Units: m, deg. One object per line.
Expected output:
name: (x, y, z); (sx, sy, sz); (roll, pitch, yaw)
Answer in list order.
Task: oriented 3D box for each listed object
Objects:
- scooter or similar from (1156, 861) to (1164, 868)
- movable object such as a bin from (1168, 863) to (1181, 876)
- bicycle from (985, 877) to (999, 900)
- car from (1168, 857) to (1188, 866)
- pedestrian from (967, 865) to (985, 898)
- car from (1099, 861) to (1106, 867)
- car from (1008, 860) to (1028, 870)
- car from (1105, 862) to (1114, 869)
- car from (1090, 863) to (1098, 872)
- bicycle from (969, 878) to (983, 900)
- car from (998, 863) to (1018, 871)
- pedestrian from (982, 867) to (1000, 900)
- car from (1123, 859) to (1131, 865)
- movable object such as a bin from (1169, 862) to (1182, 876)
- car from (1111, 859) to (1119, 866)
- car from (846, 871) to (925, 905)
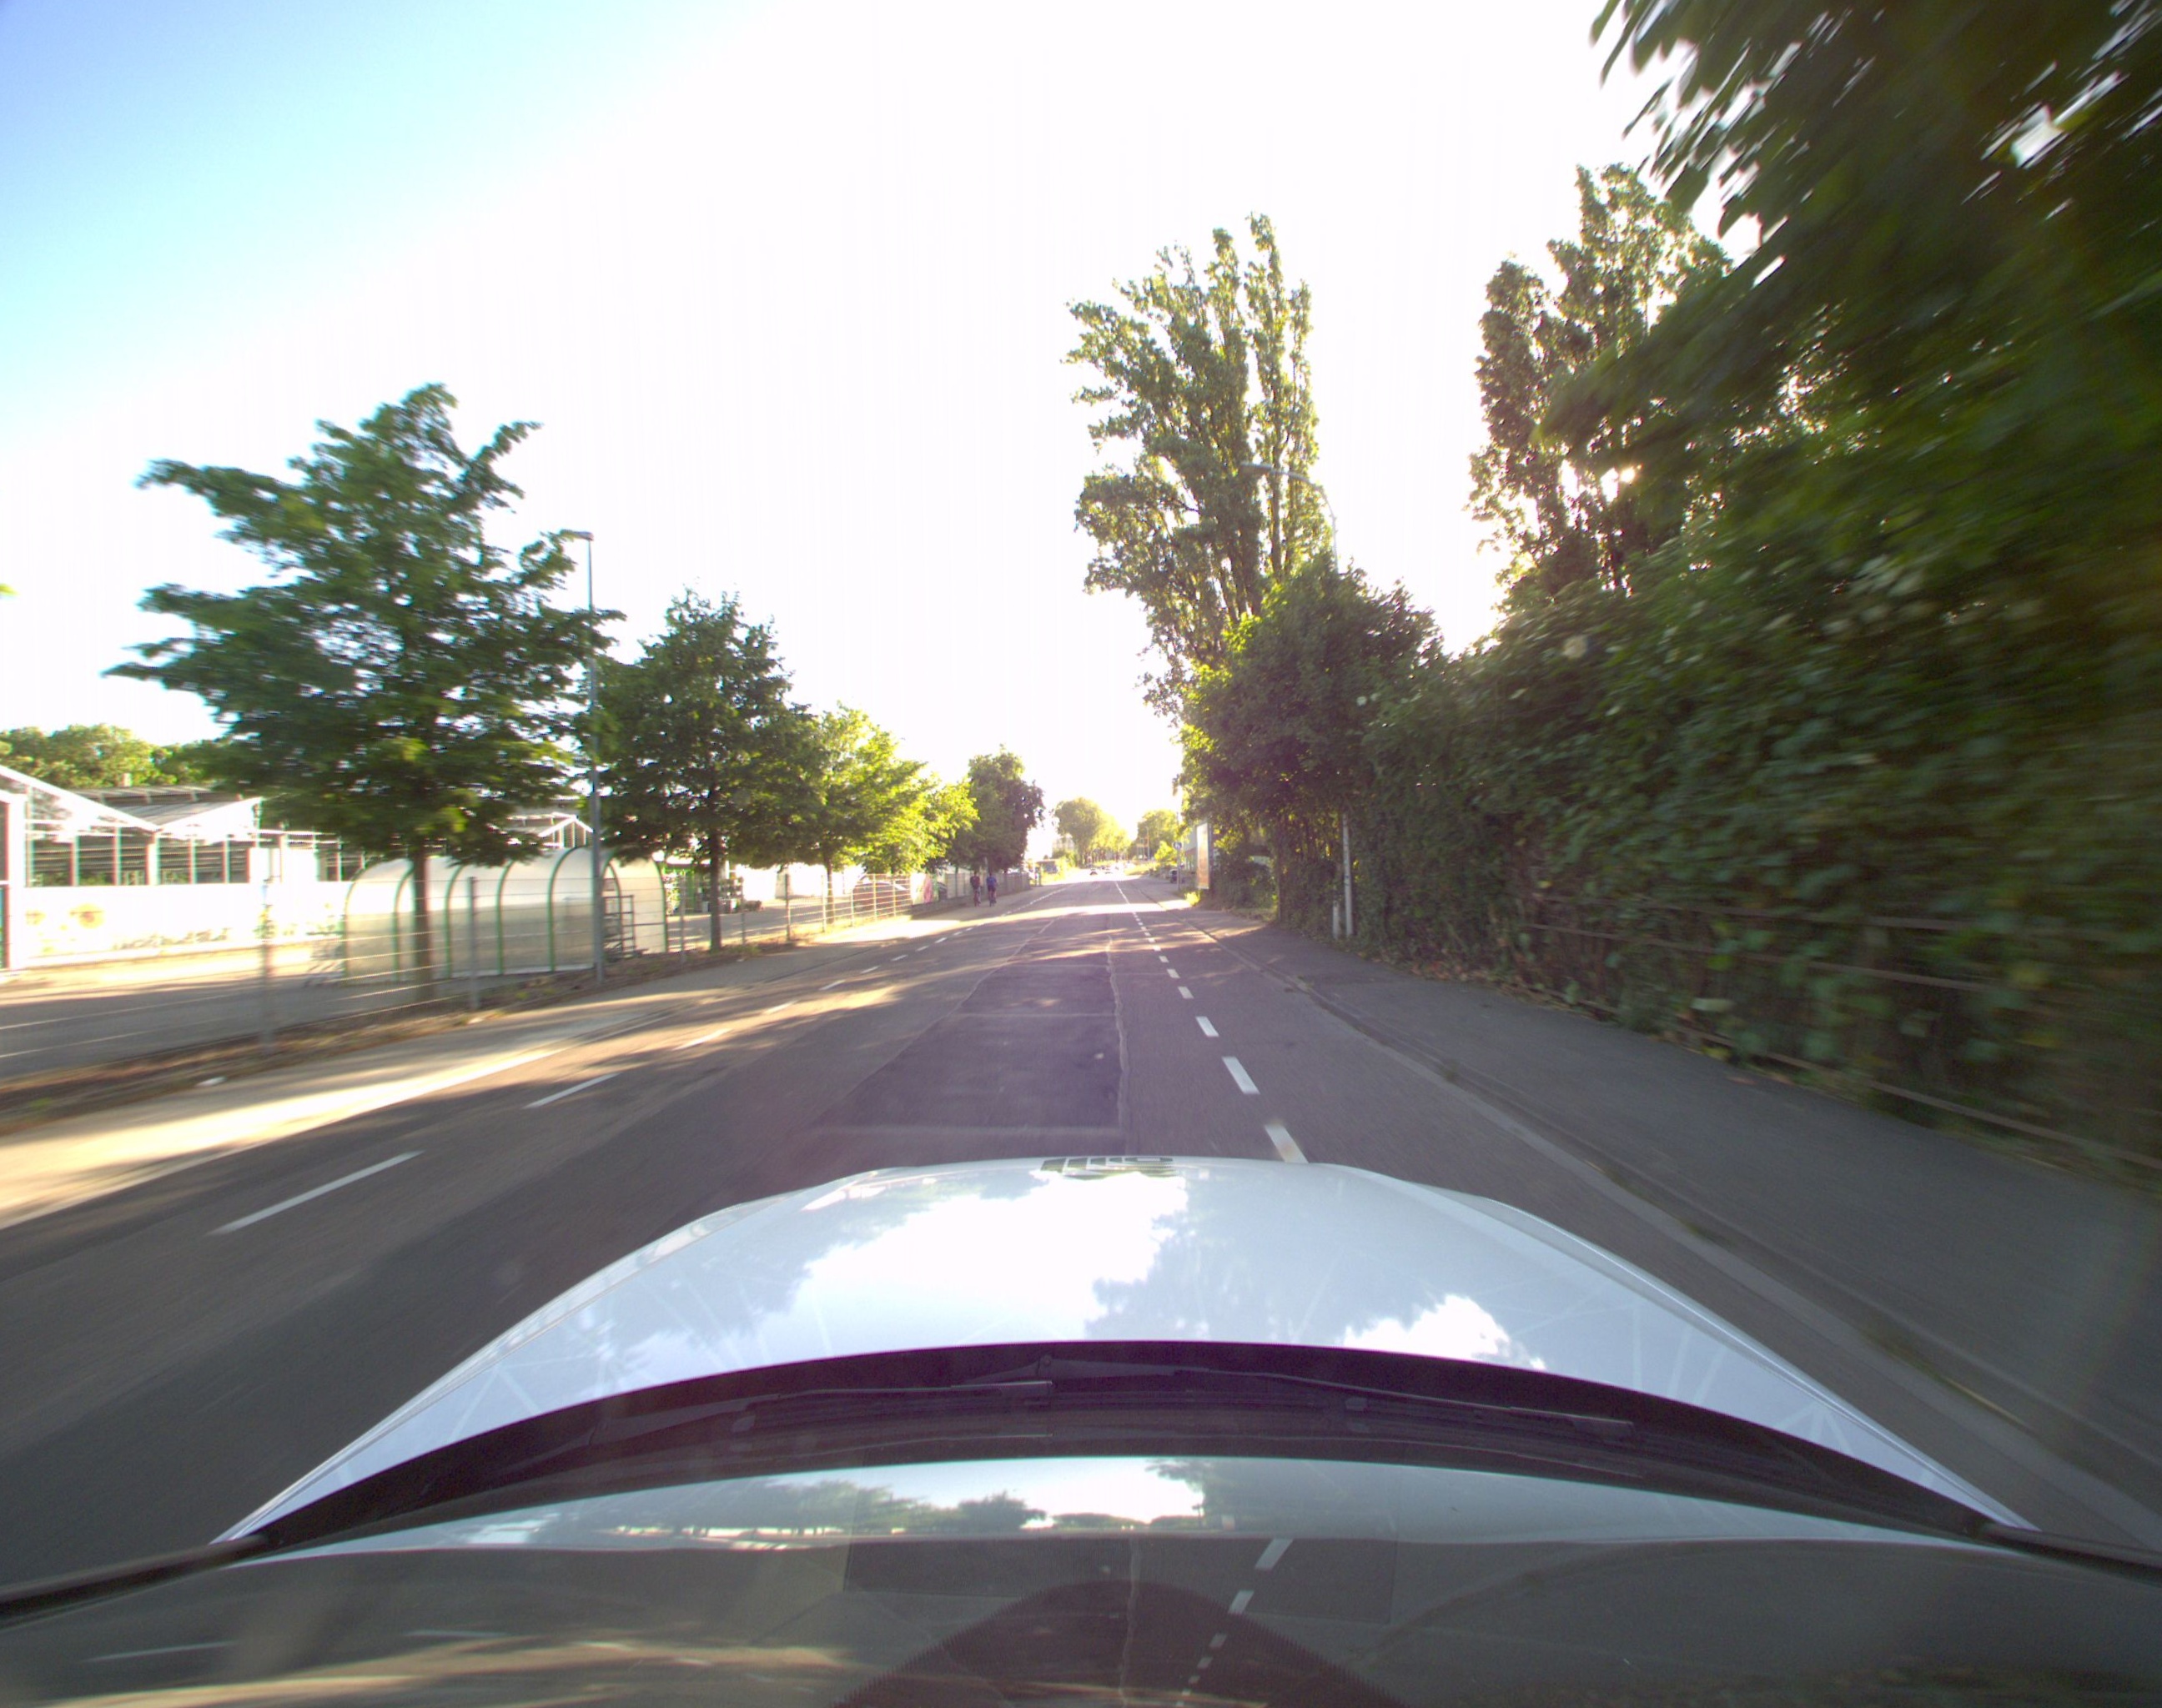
scooter or similar: (13.285, 1.747, 136.649); (1.333, 1.245, 0.424); (-2, -1, 6)
movable object such as a bin: (9.645, 1.596, 84.067); (1.124, 1.336, 1.345); (-2, -1, 1)
bicycle: (-4.786, 1.830, 43.776); (0.444, 1.148, 2.202); (-1, 0, 2)
car: (20.547, 1.580, 172.106); (4.164, 1.580, 1.854); (-2, -1, 5)
pedestrian: (-5.653, 1.466, 43.836); (0.718, 1.721, 1.057); (-2, -1, 2)
car: (6.121, 2.893, 232.336); (1.647, 1.503, 4.002); (-3, -1, 2)
car: (-17.220, 2.960, 222.282); (5.078, 2.460, 2.320); (-2, -1, 1)
car: (6.370, 2.580, 182.314); (1.782, 1.420, 4.004); (-1, 0, 3)
car: (2.810, 2.922, 176.746); (1.734, 1.526, 4.112); (-6, 0, 1)
bicycle: (-5.626, 1.861, 43.733); (0.468, 1.148, 1.870); (-1, -1, 2)
car: (-18.060, 3.176, 201.036); (4.558, 1.741, 2.061); (-2, -1, 5)
pedestrian: (-4.823, 1.570, 43.711); (0.718, 1.721, 1.057); (-2, -1, 2)
car: (12.830, 2.274, 228.198); (2.156, 1.684, 4.001); (-2, -1, 1)
movable object such as a bin: (9.593, 1.538, 82.395); (1.124, 1.372, 1.345); (-2, -1, 1)
car: (9.390, 2.361, 223.132); (2.154, 1.684, 4.004); (-2, -1, 3)
car: (-10.505, 1.822, 43.982); (3.714, 1.451, 1.805); (-5, 0, -1)
